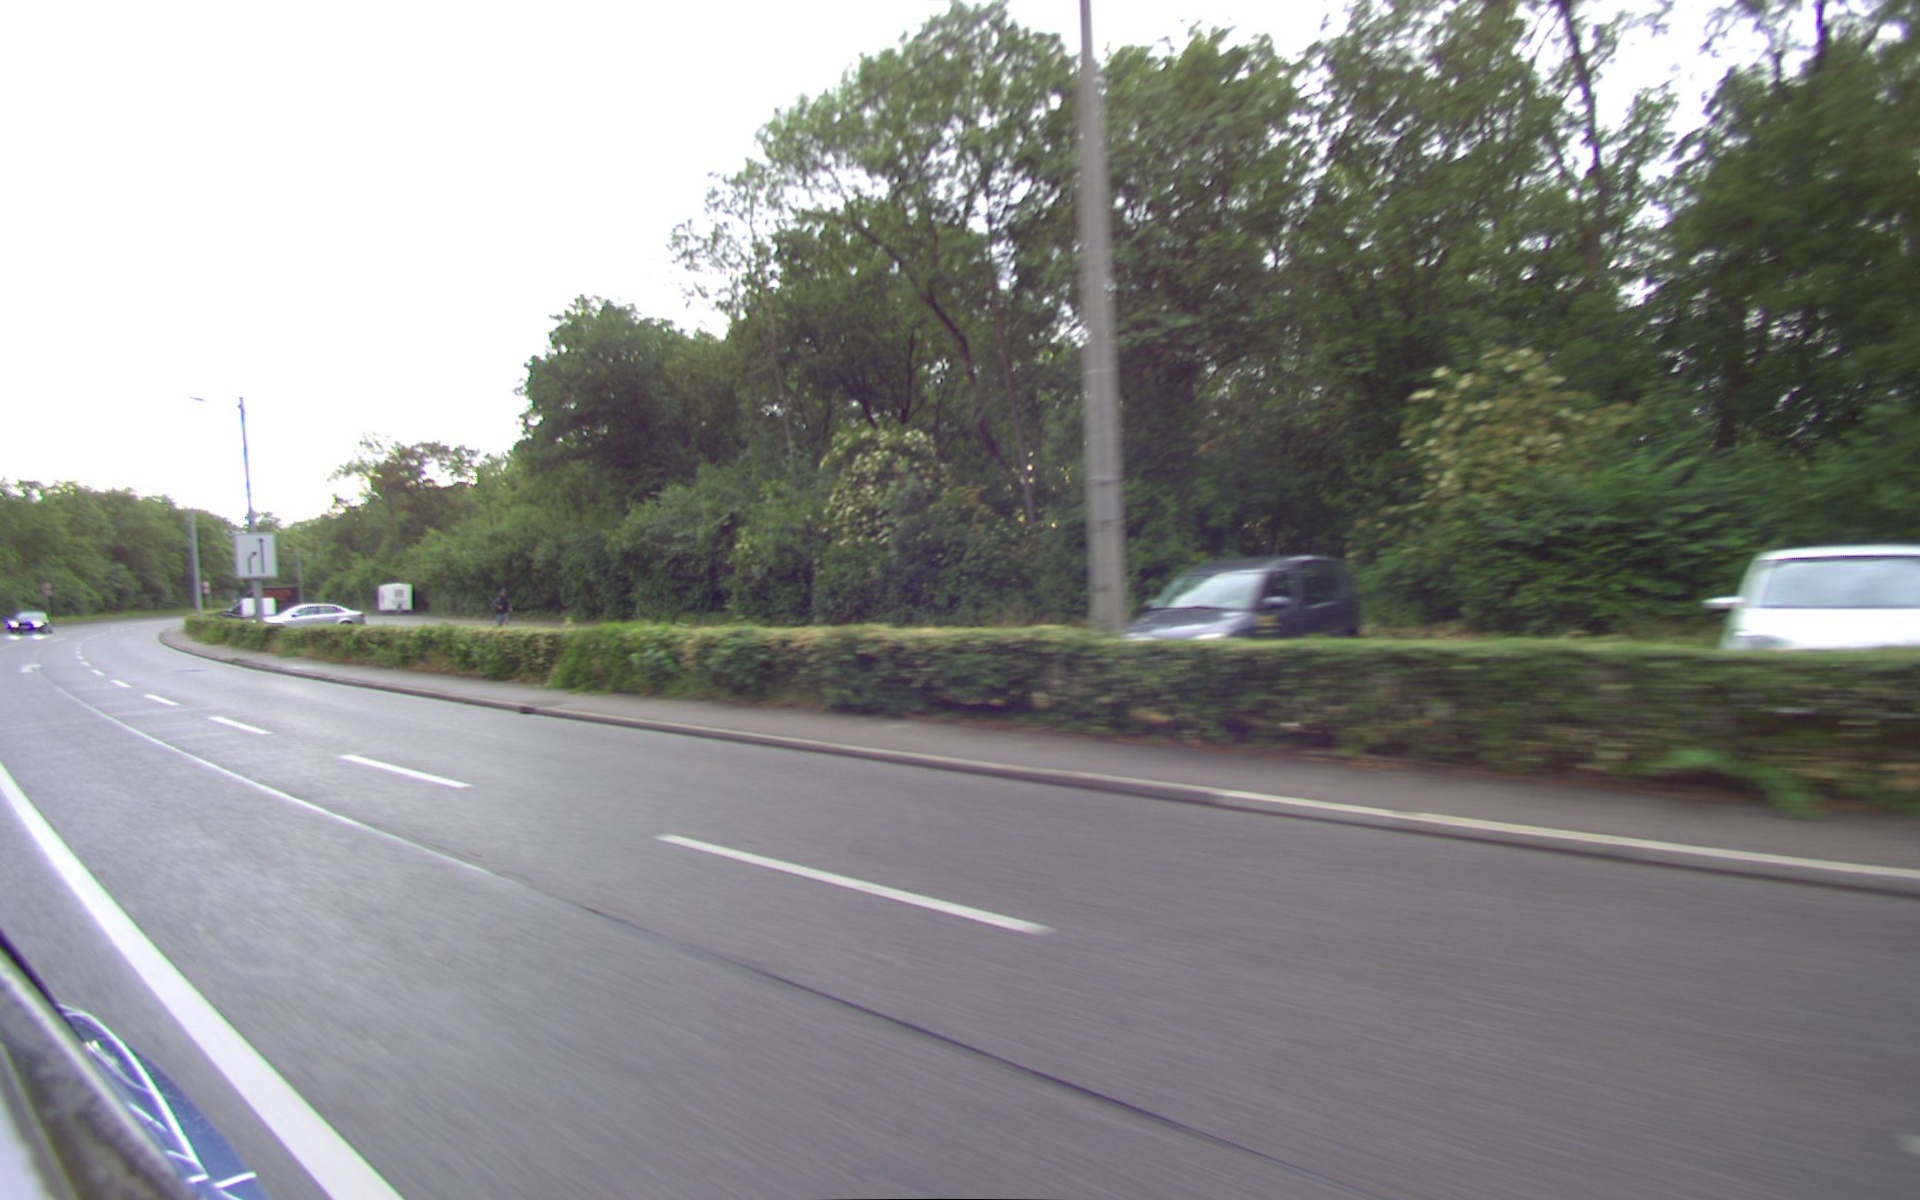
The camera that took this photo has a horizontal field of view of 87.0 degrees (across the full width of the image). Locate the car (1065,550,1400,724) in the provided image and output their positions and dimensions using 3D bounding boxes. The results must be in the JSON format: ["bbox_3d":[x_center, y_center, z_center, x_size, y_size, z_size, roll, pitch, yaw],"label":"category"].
[{"bbox_3d":[3.415,0.316,12.211,4.241,1.721,2.001,-2,1,-44],"label":"car"}]

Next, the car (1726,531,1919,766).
[{"bbox_3d":[7.597,0.287,8.402,1.849,1.603,3.609,-1,1,39],"label":"car"}]

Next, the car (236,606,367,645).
[{"bbox_3d":[-29.280,1.086,45.117,2.000,1.517,4.526,-1,1,43],"label":"car"}]

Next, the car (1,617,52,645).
[{"bbox_3d":[-61.519,2.008,66.768,1.967,1.696,4.010,-1,0,-36],"label":"car"}]

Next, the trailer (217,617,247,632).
[{"bbox_3d":[-55.657,1.846,77.366,1.778,1.042,1.336,-1,0,-39],"label":"trailer"}]

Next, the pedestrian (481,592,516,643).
[{"bbox_3d":[-16.754,0.616,36.724,0.807,1.811,1.136,-1,0,-43],"label":"pedestrian"}]

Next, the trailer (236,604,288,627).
[{"bbox_3d":[-65.832,1.458,95.474,3.932,2.068,1.878,-1,0,-32],"label":"trailer"}]

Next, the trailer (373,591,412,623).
[{"bbox_3d":[-54.202,0.630,96.537,2.443,2.895,7.997,-1,0,-35],"label":"trailer"}]

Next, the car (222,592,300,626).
[{"bbox_3d":[-68.955,0.879,99.958,6.189,3.136,2.759,-2,1,-35],"label":"car"}]
